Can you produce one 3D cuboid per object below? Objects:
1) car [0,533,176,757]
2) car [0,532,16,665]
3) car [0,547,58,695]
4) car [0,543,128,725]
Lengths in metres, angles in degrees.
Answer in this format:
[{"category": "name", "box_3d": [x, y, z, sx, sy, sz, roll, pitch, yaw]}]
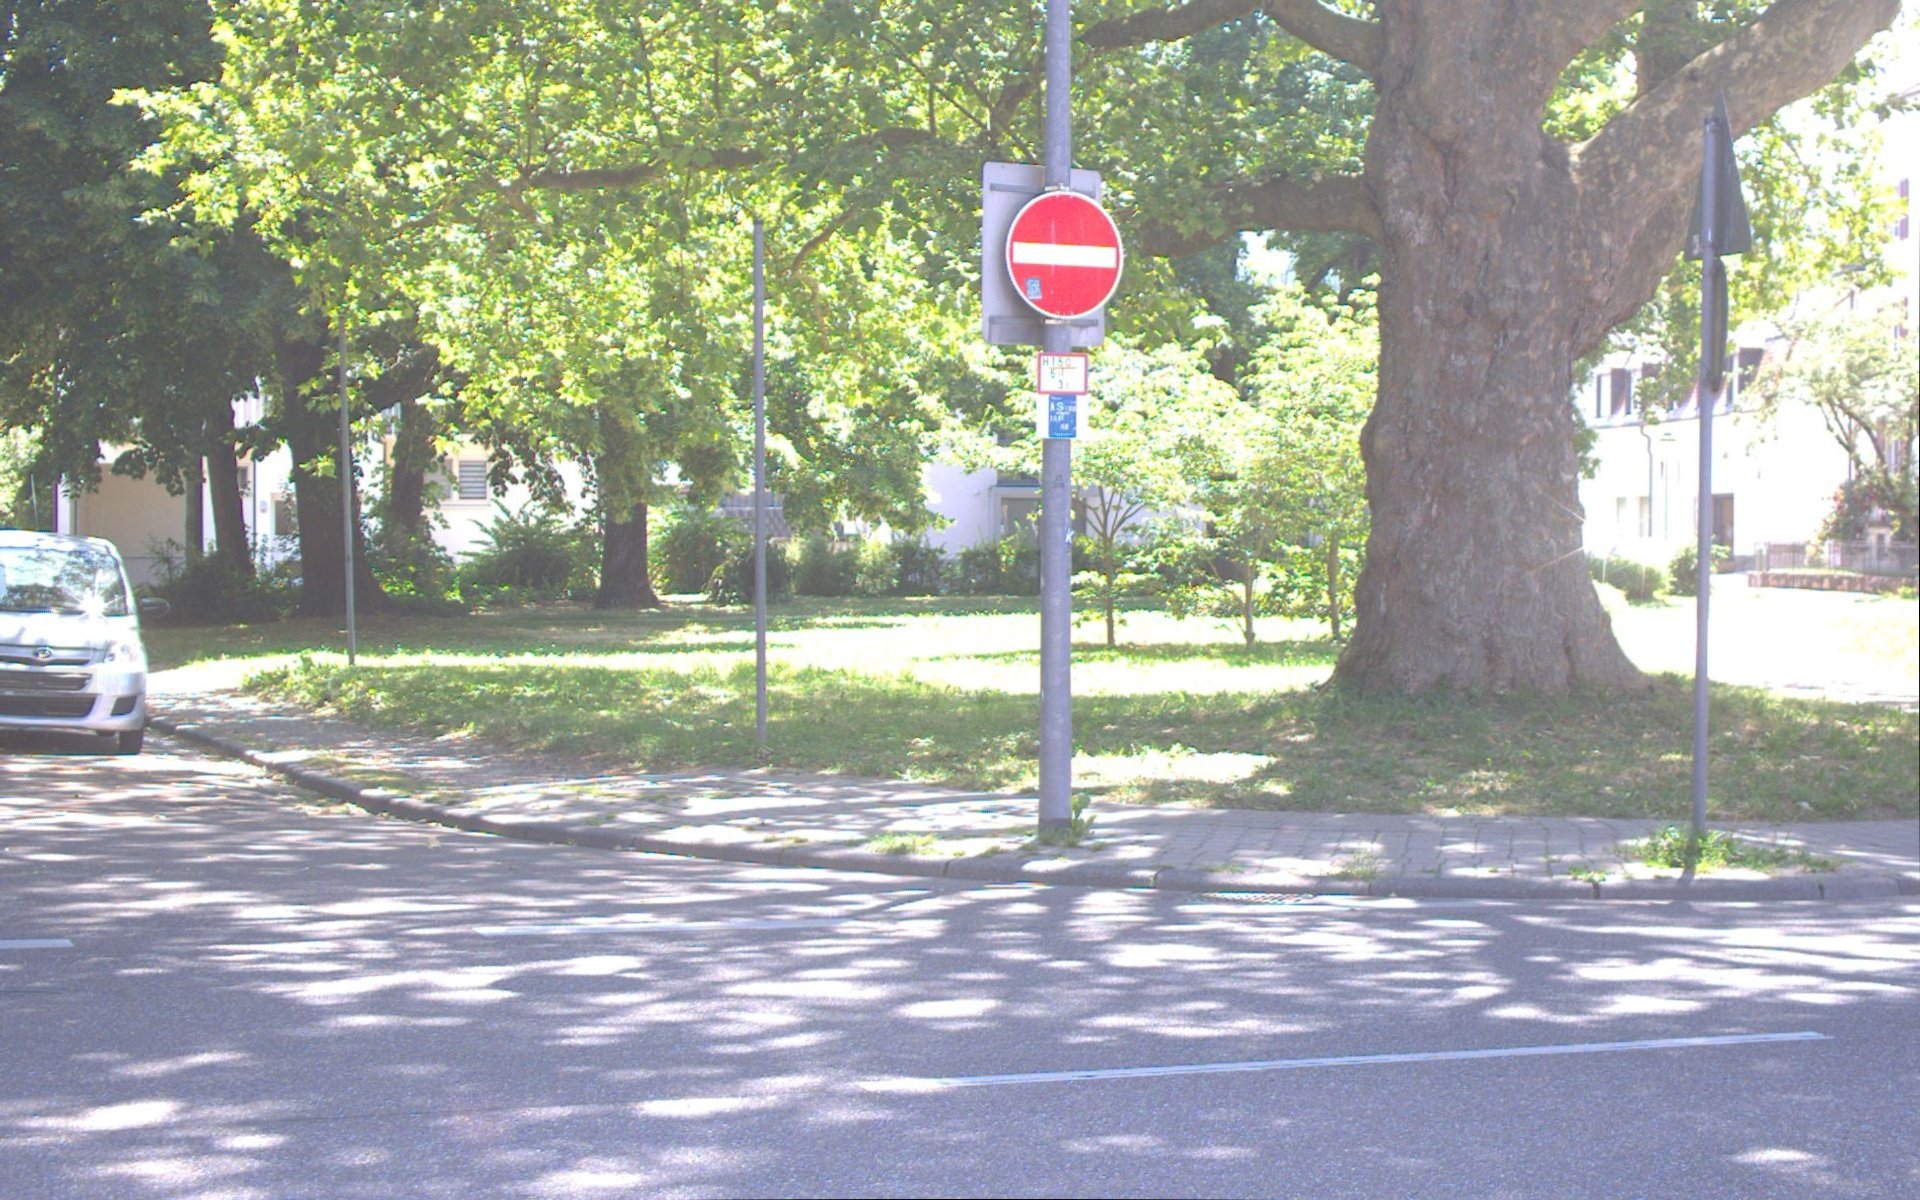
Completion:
[{"category": "car", "box_3d": [-6.699, 0.270, 24.824, 1.594, 1.492, 3.487, 1, 1, -20]}, {"category": "car", "box_3d": [-12.273, -0.057, 40.698, 1.754, 1.488, 4.377, 0, 1, -20]}, {"category": "car", "box_3d": [-10.626, 0.177, 36.241, 1.750, 1.434, 4.771, 0, 1, -20]}, {"category": "car", "box_3d": [-8.400, 0.238, 29.945, 1.750, 1.434, 4.504, 1, 1, -20]}]
